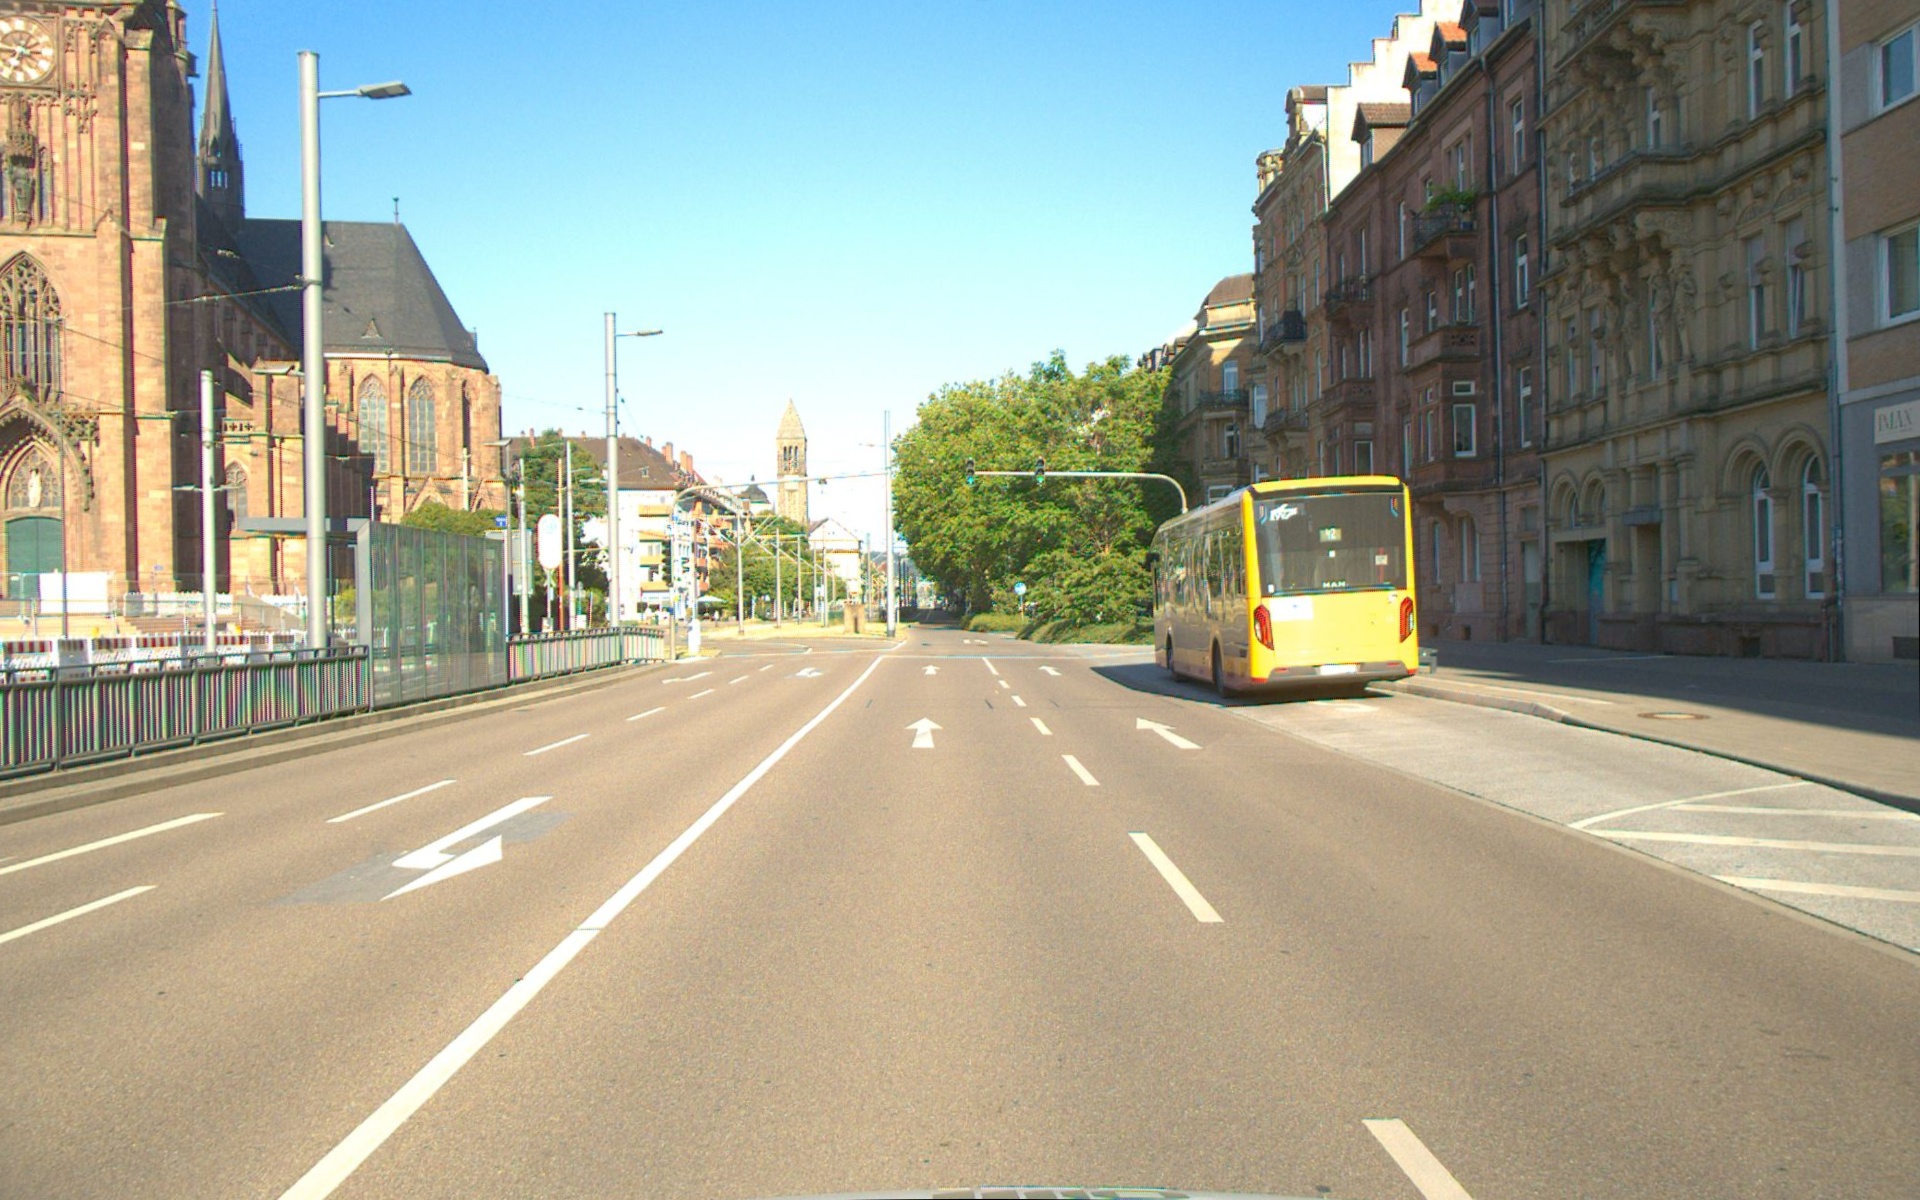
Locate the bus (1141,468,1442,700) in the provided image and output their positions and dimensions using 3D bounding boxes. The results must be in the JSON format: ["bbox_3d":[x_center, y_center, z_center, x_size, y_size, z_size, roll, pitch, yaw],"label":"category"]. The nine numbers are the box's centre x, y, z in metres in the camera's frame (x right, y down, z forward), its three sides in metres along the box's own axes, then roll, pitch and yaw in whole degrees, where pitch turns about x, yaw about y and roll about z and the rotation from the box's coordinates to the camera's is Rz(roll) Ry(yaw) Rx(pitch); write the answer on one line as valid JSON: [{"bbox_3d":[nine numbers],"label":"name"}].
[{"bbox_3d":[5.475,-0.237,30.147,2.660,3.236,12.538,-2,0,-1],"label":"bus"}]

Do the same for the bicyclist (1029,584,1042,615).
[{"bbox_3d":[4.592,-0.029,101.162,0.628,1.846,1.052,-2,-1,-2],"label":"bicyclist"}]

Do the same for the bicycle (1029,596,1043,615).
[{"bbox_3d":[4.612,0.342,100.976,0.628,1.066,2.359,-2,-1,-2],"label":"bicycle"}]

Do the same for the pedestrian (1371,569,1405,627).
[{"bbox_3d":[14.687,-0.076,56.745,0.805,1.964,1.136,-2,0,-1],"label":"pedestrian"}]

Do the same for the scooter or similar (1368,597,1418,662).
[{"bbox_3d":[8.805,0.611,33.645,0.423,1.271,1.291,-3,-1,-10],"label":"scooter or similar"}]

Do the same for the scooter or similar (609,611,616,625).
[{"bbox_3d":[-32.278,1.659,153.584,0.393,1.283,1.231,-2,3,0],"label":"scooter or similar"}]

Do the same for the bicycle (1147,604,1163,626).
[{"bbox_3d":[10.351,0.800,87.796,0.507,1.066,1.820,-2,3,-2],"label":"bicycle"}]

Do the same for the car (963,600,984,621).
[{"bbox_3d":[1.110,0.850,136.091,1.610,1.537,4.182,-3,0,0],"label":"car"}]
